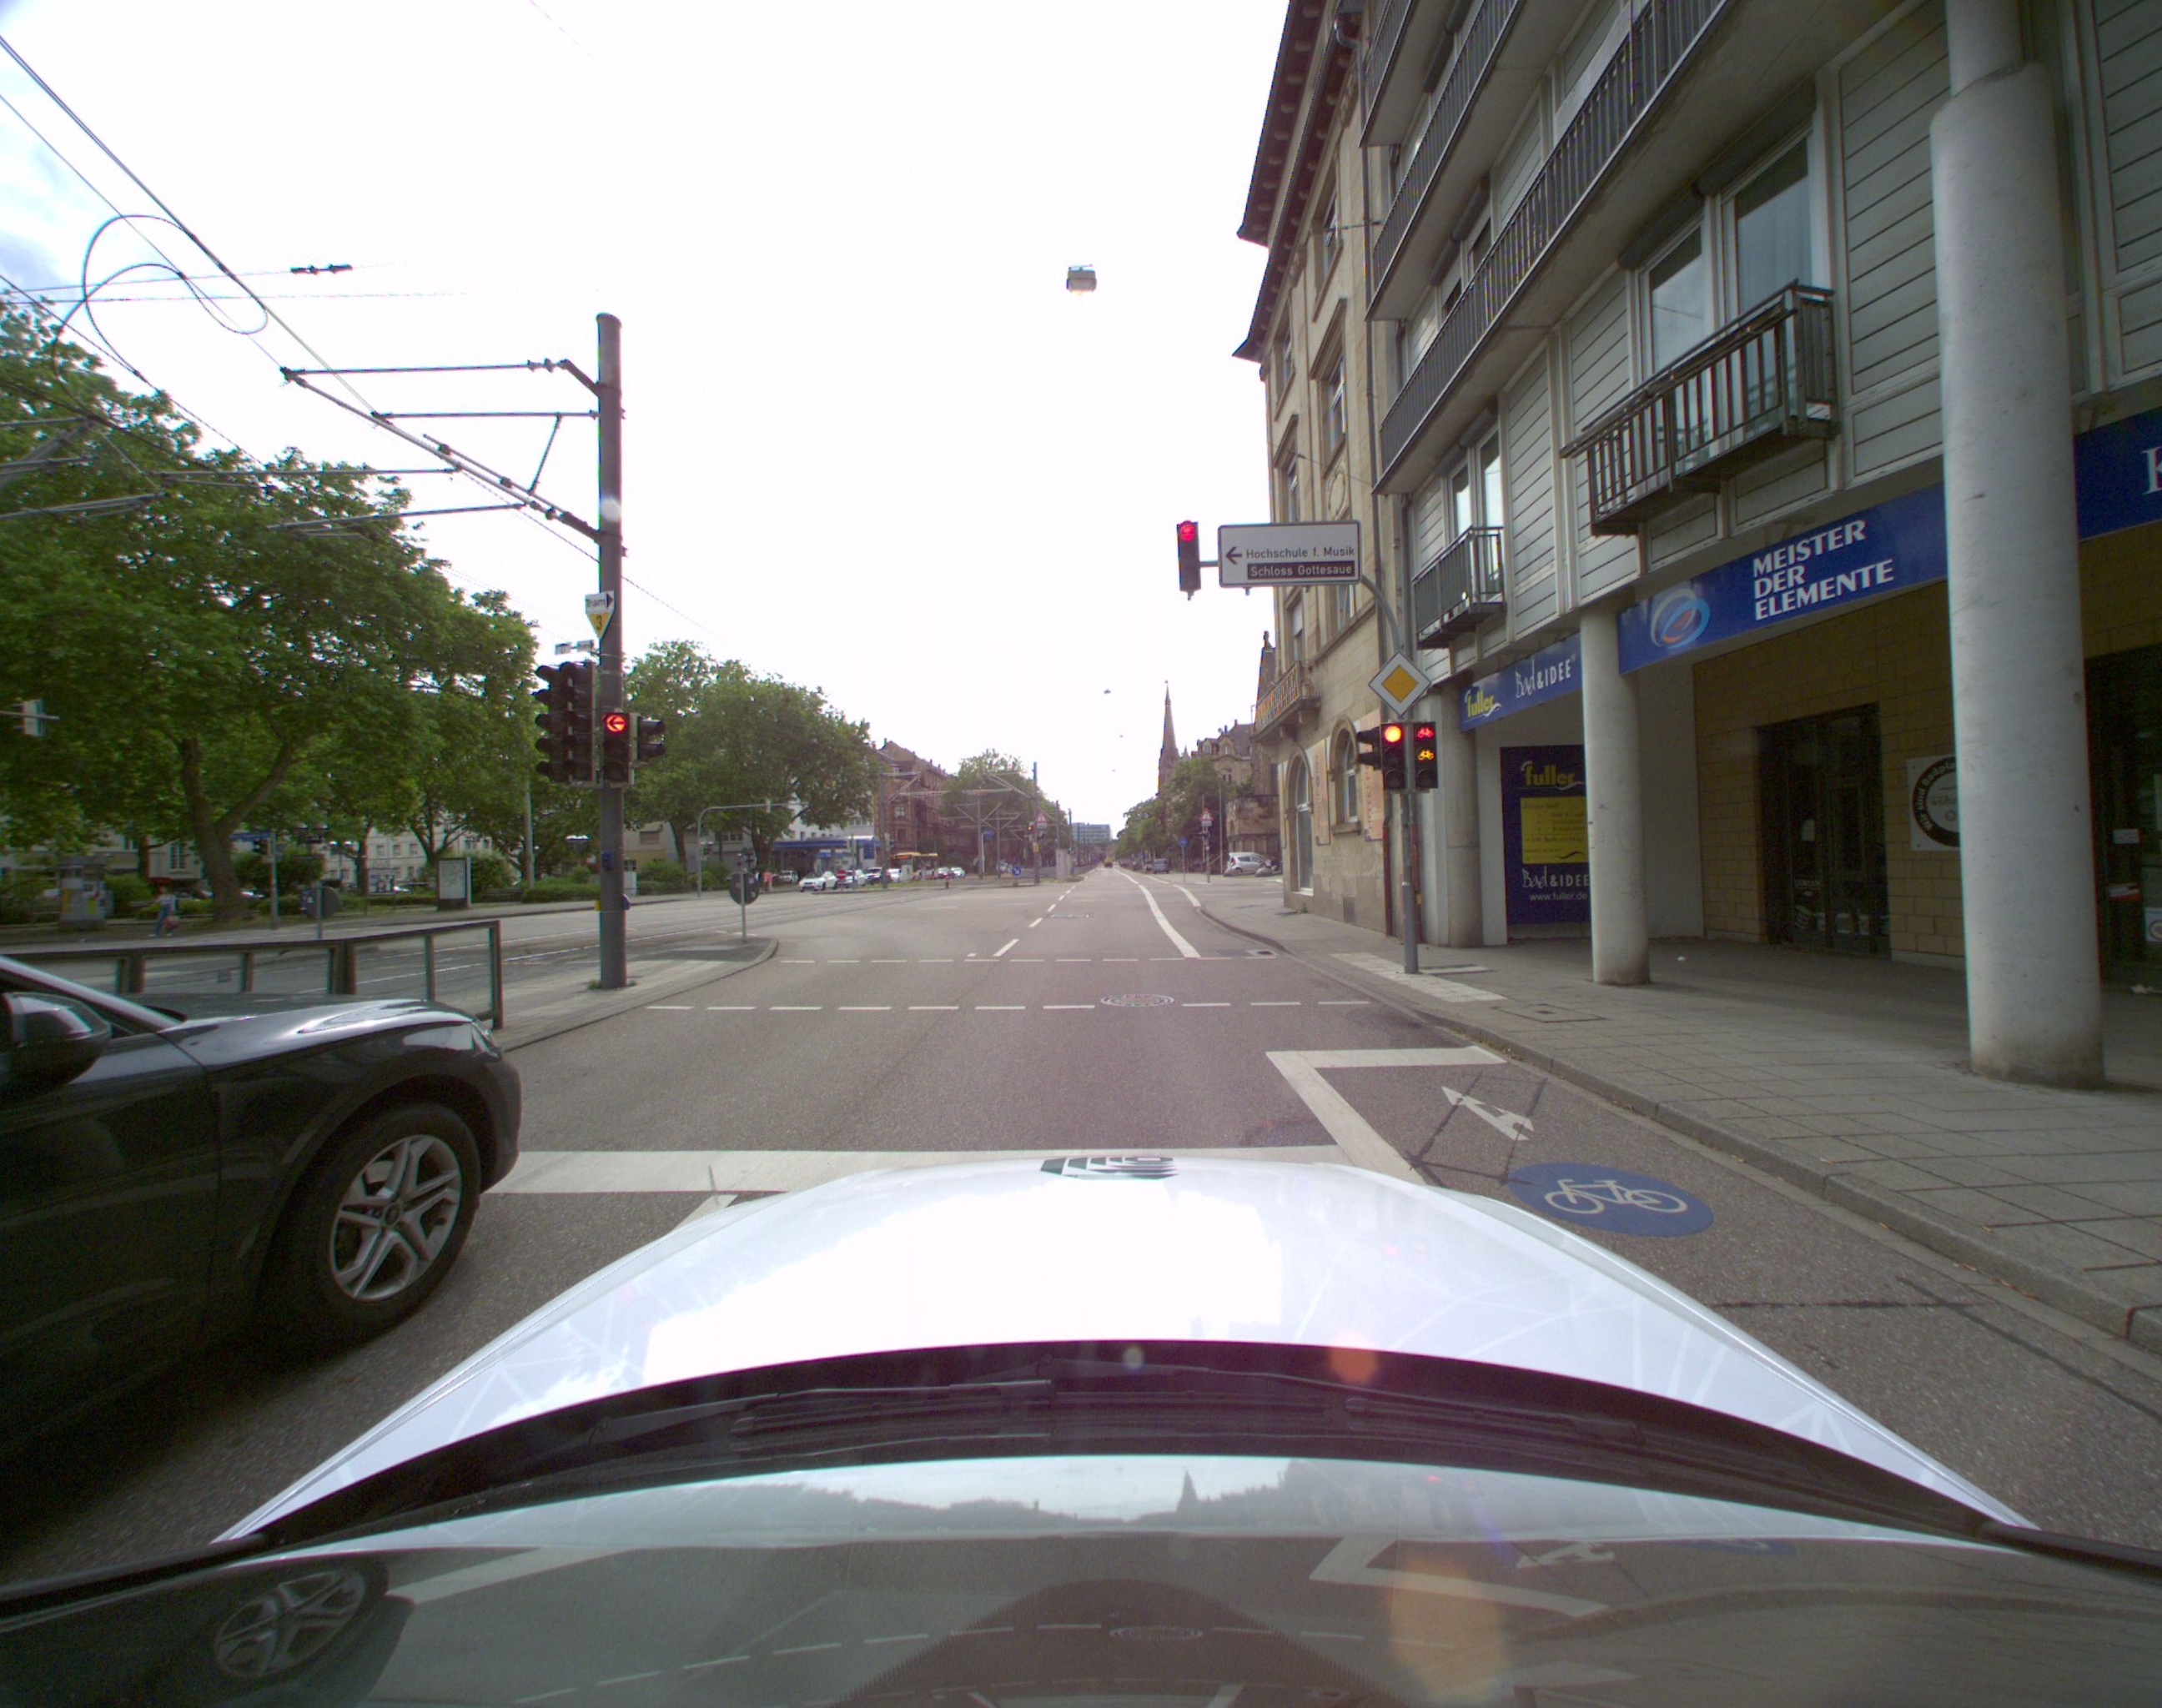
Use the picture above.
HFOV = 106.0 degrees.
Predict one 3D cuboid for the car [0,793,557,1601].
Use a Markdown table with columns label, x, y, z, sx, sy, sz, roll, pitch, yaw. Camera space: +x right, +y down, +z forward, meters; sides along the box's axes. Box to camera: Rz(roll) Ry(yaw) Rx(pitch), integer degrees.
| label | x | y | z | sx | sy | sz | roll | pitch | yaw |
| --- | --- | --- | --- | --- | --- | --- | --- | --- | --- |
| car | -3.070 | 0.696 | 1.222 | 1.727 | 1.637 | 4.228 | 0 | -1 | 2 |

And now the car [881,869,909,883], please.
| label | x | y | z | sx | sy | sz | roll | pitch | yaw |
| --- | --- | --- | --- | --- | --- | --- | --- | --- | --- |
| car | -18.159 | 2.110 | 79.634 | 1.649 | 1.321 | 3.641 | 0 | -1 | 3 |

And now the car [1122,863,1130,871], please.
| label | x | y | z | sx | sy | sz | roll | pitch | yaw |
| --- | --- | --- | --- | --- | --- | --- | --- | --- | --- |
| car | 11.912 | 3.379 | 216.780 | 1.986 | 2.014 | 4.001 | 0 | -1 | 2 |

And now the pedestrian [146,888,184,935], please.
| label | x | y | z | sx | sy | sz | roll | pitch | yaw |
| --- | --- | --- | --- | --- | --- | --- | --- | --- | --- |
| pedestrian | -30.433 | 1.891 | 27.056 | 0.659 | 1.510 | 0.676 | -1 | -1 | -32 |

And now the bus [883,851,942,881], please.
| label | x | y | z | sx | sy | sz | roll | pitch | yaw |
| --- | --- | --- | --- | --- | --- | --- | --- | --- | --- |
| bus | -18.300 | 1.309 | 89.711 | 3.217 | 3.035 | 12.323 | 0 | 0 | 4 |

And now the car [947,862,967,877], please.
| label | x | y | z | sx | sy | sz | roll | pitch | yaw |
| --- | --- | --- | --- | --- | --- | --- | --- | --- | --- |
| car | -16.750 | 2.071 | 110.182 | 1.986 | 2.014 | 4.001 | 0 | -1 | 2 |

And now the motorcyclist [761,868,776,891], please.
| label | x | y | z | sx | sy | sz | roll | pitch | yaw |
| --- | --- | --- | --- | --- | --- | --- | --- | --- | --- |
| motorcyclist | -21.482 | 1.748 | 55.961 | 0.617 | 1.520 | 0.874 | -2 | -1 | 2 |

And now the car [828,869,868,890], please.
| label | x | y | z | sx | sy | sz | roll | pitch | yaw |
| --- | --- | --- | --- | --- | --- | --- | --- | --- | --- |
| car | -18.845 | 2.065 | 66.069 | 1.986 | 1.594 | 4.001 | 0 | -1 | 2 |

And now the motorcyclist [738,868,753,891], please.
| label | x | y | z | sx | sy | sz | roll | pitch | yaw |
| --- | --- | --- | --- | --- | --- | --- | --- | --- | --- |
| motorcyclist | -22.733 | 1.738 | 55.165 | 0.617 | 1.520 | 0.874 | -2 | -1 | 2 |

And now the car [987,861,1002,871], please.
| label | x | y | z | sx | sy | sz | roll | pitch | yaw |
| --- | --- | --- | --- | --- | --- | --- | --- | --- | --- |
| car | -15.053 | 2.074 | 142.085 | 1.986 | 1.610 | 4.001 | 0 | -1 | 2 |

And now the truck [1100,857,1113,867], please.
| label | x | y | z | sx | sy | sz | roll | pitch | yaw |
| --- | --- | --- | --- | --- | --- | --- | --- | --- | --- |
| truck | 7.383 | 2.158 | 232.694 | 3.040 | 2.769 | 9.829 | -2 | 0 | 5 |

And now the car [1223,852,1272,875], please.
| label | x | y | z | sx | sy | sz | roll | pitch | yaw |
| --- | --- | --- | --- | --- | --- | --- | --- | --- | --- |
| car | 13.926 | 0.790 | 68.231 | 3.699 | 1.855 | 2.001 | 0 | -1 | 2 |

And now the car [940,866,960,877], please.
| label | x | y | z | sx | sy | sz | roll | pitch | yaw |
| --- | --- | --- | --- | --- | --- | --- | --- | --- | --- |
| car | -16.536 | 2.201 | 102.808 | 1.649 | 1.321 | 3.641 | 0 | -1 | 3 |

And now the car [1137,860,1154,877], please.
| label | x | y | z | sx | sy | sz | roll | pitch | yaw |
| --- | --- | --- | --- | --- | --- | --- | --- | --- | --- |
| car | 7.891 | 1.701 | 99.607 | 1.985 | 2.014 | 4.004 | 0 | -1 | 4 |

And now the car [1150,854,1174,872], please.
| label | x | y | z | sx | sy | sz | roll | pitch | yaw |
| --- | --- | --- | --- | --- | --- | --- | --- | --- | --- |
| car | 8.973 | 0.991 | 89.945 | 1.979 | 1.855 | 4.042 | -1 | -1 | 14 |

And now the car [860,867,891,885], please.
| label | x | y | z | sx | sy | sz | roll | pitch | yaw |
| --- | --- | --- | --- | --- | --- | --- | --- | --- | --- |
| car | -18.331 | 1.938 | 72.713 | 1.649 | 1.478 | 3.641 | 0 | -1 | 3 |

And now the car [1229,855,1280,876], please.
| label | x | y | z | sx | sy | sz | roll | pitch | yaw |
| --- | --- | --- | --- | --- | --- | --- | --- | --- | --- |
| car | 13.747 | 0.907 | 64.749 | 3.699 | 1.563 | 2.001 | 0 | -1 | 2 |

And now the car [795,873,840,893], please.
| label | x | y | z | sx | sy | sz | roll | pitch | yaw |
| --- | --- | --- | --- | --- | --- | --- | --- | --- | --- |
| car | -19.167 | 2.085 | 59.517 | 1.739 | 1.321 | 4.079 | 0 | -1 | 3 |

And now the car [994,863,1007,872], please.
| label | x | y | z | sx | sy | sz | roll | pitch | yaw |
| --- | --- | --- | --- | --- | --- | --- | --- | --- | --- |
| car | -14.793 | 2.456 | 149.894 | 1.986 | 1.610 | 4.001 | 0 | -1 | 2 |

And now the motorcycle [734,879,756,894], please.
| label | x | y | z | sx | sy | sz | roll | pitch | yaw |
| --- | --- | --- | --- | --- | --- | --- | --- | --- | --- |
| motorcycle | -22.726 | 2.189 | 55.141 | 0.604 | 0.928 | 1.953 | -2 | -1 | 2 |

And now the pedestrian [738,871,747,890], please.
| label | x | y | z | sx | sy | sz | roll | pitch | yaw |
| --- | --- | --- | --- | --- | --- | --- | --- | --- | --- |
| pedestrian | -26.387 | 2.063 | 63.467 | 0.474 | 1.459 | 0.426 | -2 | -1 | 1 |

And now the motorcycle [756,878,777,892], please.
| label | x | y | z | sx | sy | sz | roll | pitch | yaw |
| --- | --- | --- | --- | --- | --- | --- | --- | --- | --- |
| motorcycle | -21.466 | 2.121 | 55.674 | 0.604 | 0.928 | 1.953 | -2 | -1 | 2 |

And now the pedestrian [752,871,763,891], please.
| label | x | y | z | sx | sy | sz | roll | pitch | yaw |
| --- | --- | --- | --- | --- | --- | --- | --- | --- | --- |
| pedestrian | -25.348 | 2.109 | 63.796 | 0.645 | 1.479 | 0.557 | -2 | -1 | 1 |

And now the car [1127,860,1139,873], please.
| label | x | y | z | sx | sy | sz | roll | pitch | yaw |
| --- | --- | --- | --- | --- | --- | --- | --- | --- | --- |
| car | 8.695 | 2.059 | 136.174 | 1.986 | 2.014 | 4.001 | 0 | -1 | 2 |

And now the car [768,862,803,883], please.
| label | x | y | z | sx | sy | sz | roll | pitch | yaw |
| --- | --- | --- | --- | --- | --- | --- | --- | --- | --- |
| car | -29.763 | 1.824 | 82.118 | 1.986 | 2.014 | 4.001 | -2 | 0 | 2 |
